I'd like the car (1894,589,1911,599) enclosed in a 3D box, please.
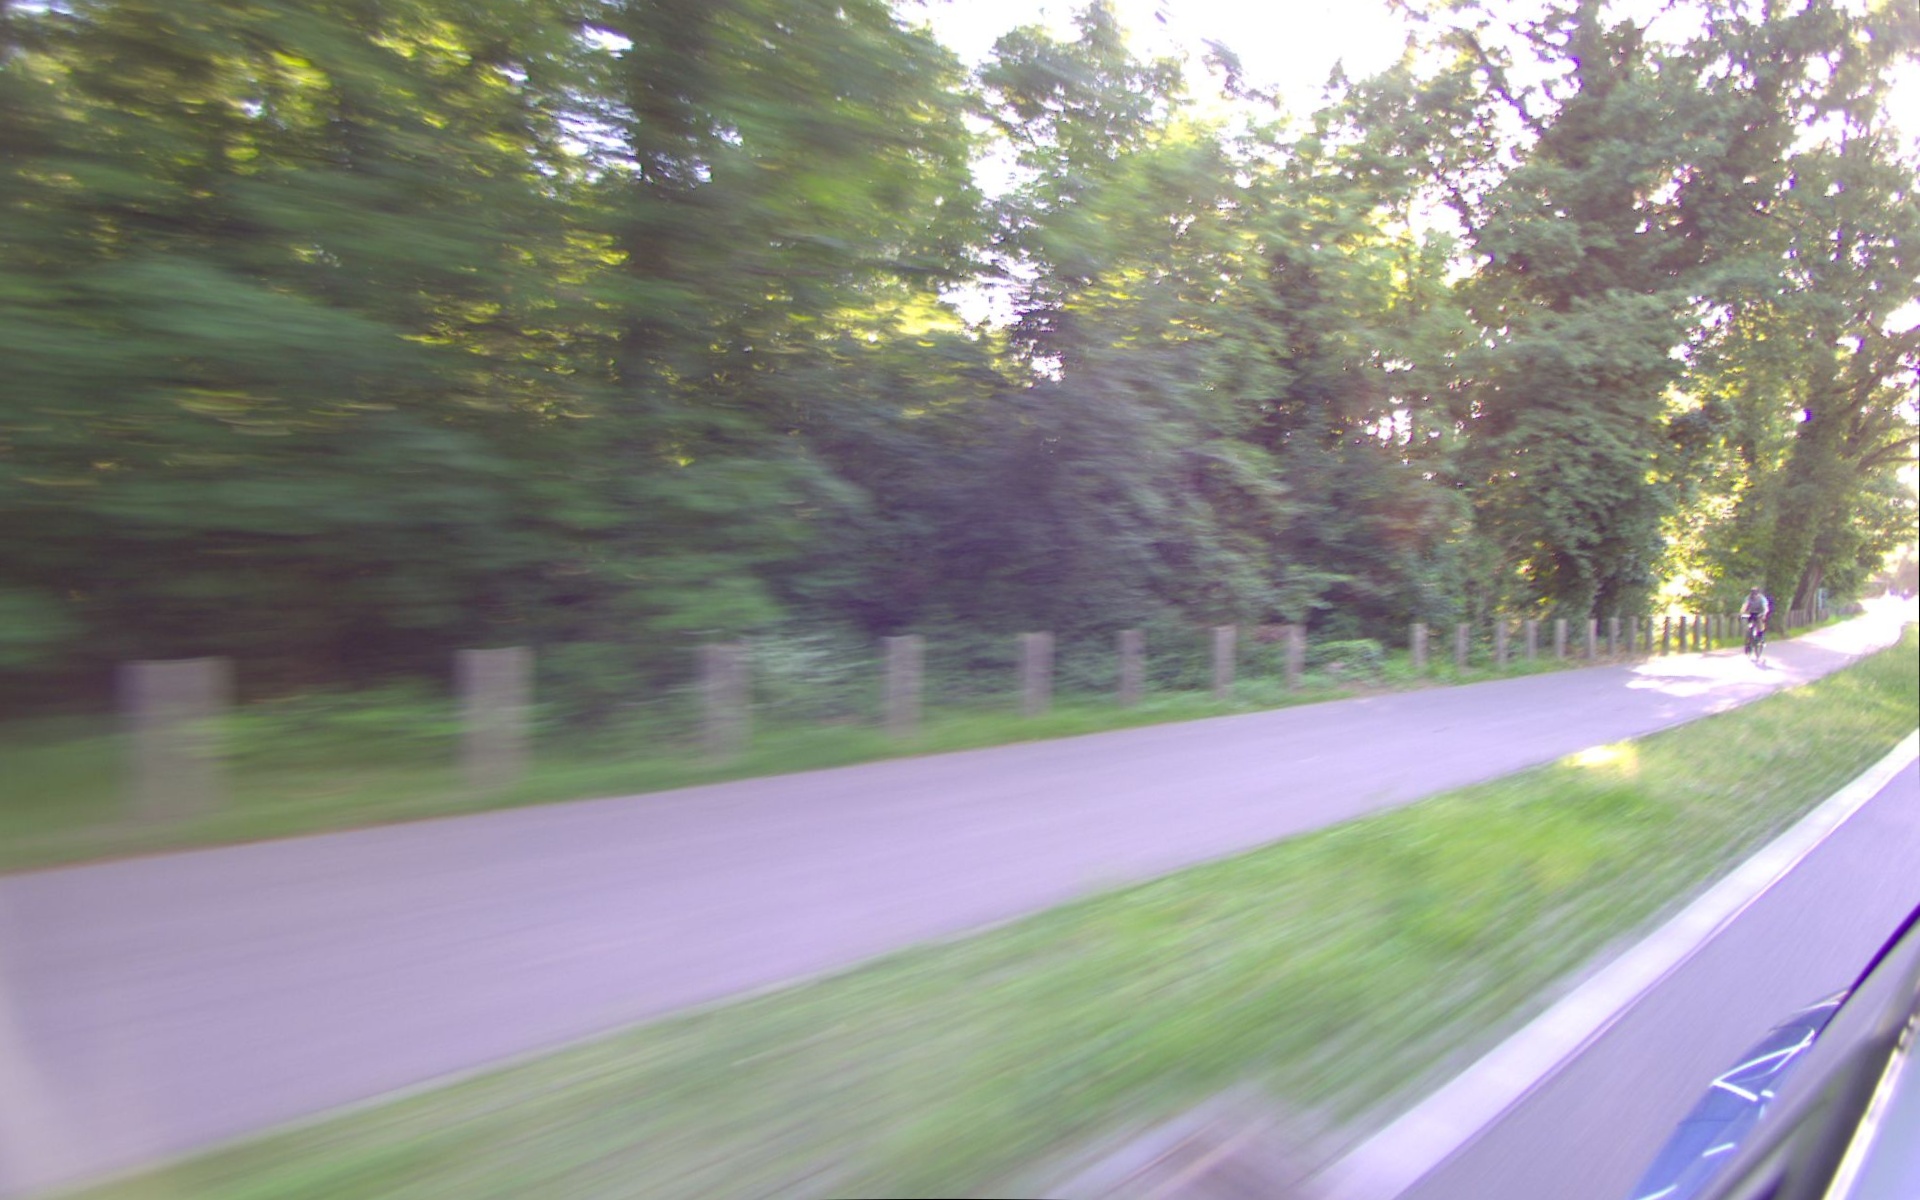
[{"bbox_3d":[165.371,-1.108,177.587,1.818,1.705,3.945,2,2,38],"label":"car"}]

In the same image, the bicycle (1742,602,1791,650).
[{"bbox_3d":[19.233,0.597,24.123,0.712,1.069,2.020,1,1,44],"label":"bicycle"}]

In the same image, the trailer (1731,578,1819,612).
[{"bbox_3d":[52.933,-0.348,65.834,1.960,2.046,4.233,1,2,-5],"label":"trailer"}]

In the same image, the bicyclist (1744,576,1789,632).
[{"bbox_3d":[19.202,0.089,24.087,0.712,1.305,1.087,1,1,44],"label":"bicyclist"}]
